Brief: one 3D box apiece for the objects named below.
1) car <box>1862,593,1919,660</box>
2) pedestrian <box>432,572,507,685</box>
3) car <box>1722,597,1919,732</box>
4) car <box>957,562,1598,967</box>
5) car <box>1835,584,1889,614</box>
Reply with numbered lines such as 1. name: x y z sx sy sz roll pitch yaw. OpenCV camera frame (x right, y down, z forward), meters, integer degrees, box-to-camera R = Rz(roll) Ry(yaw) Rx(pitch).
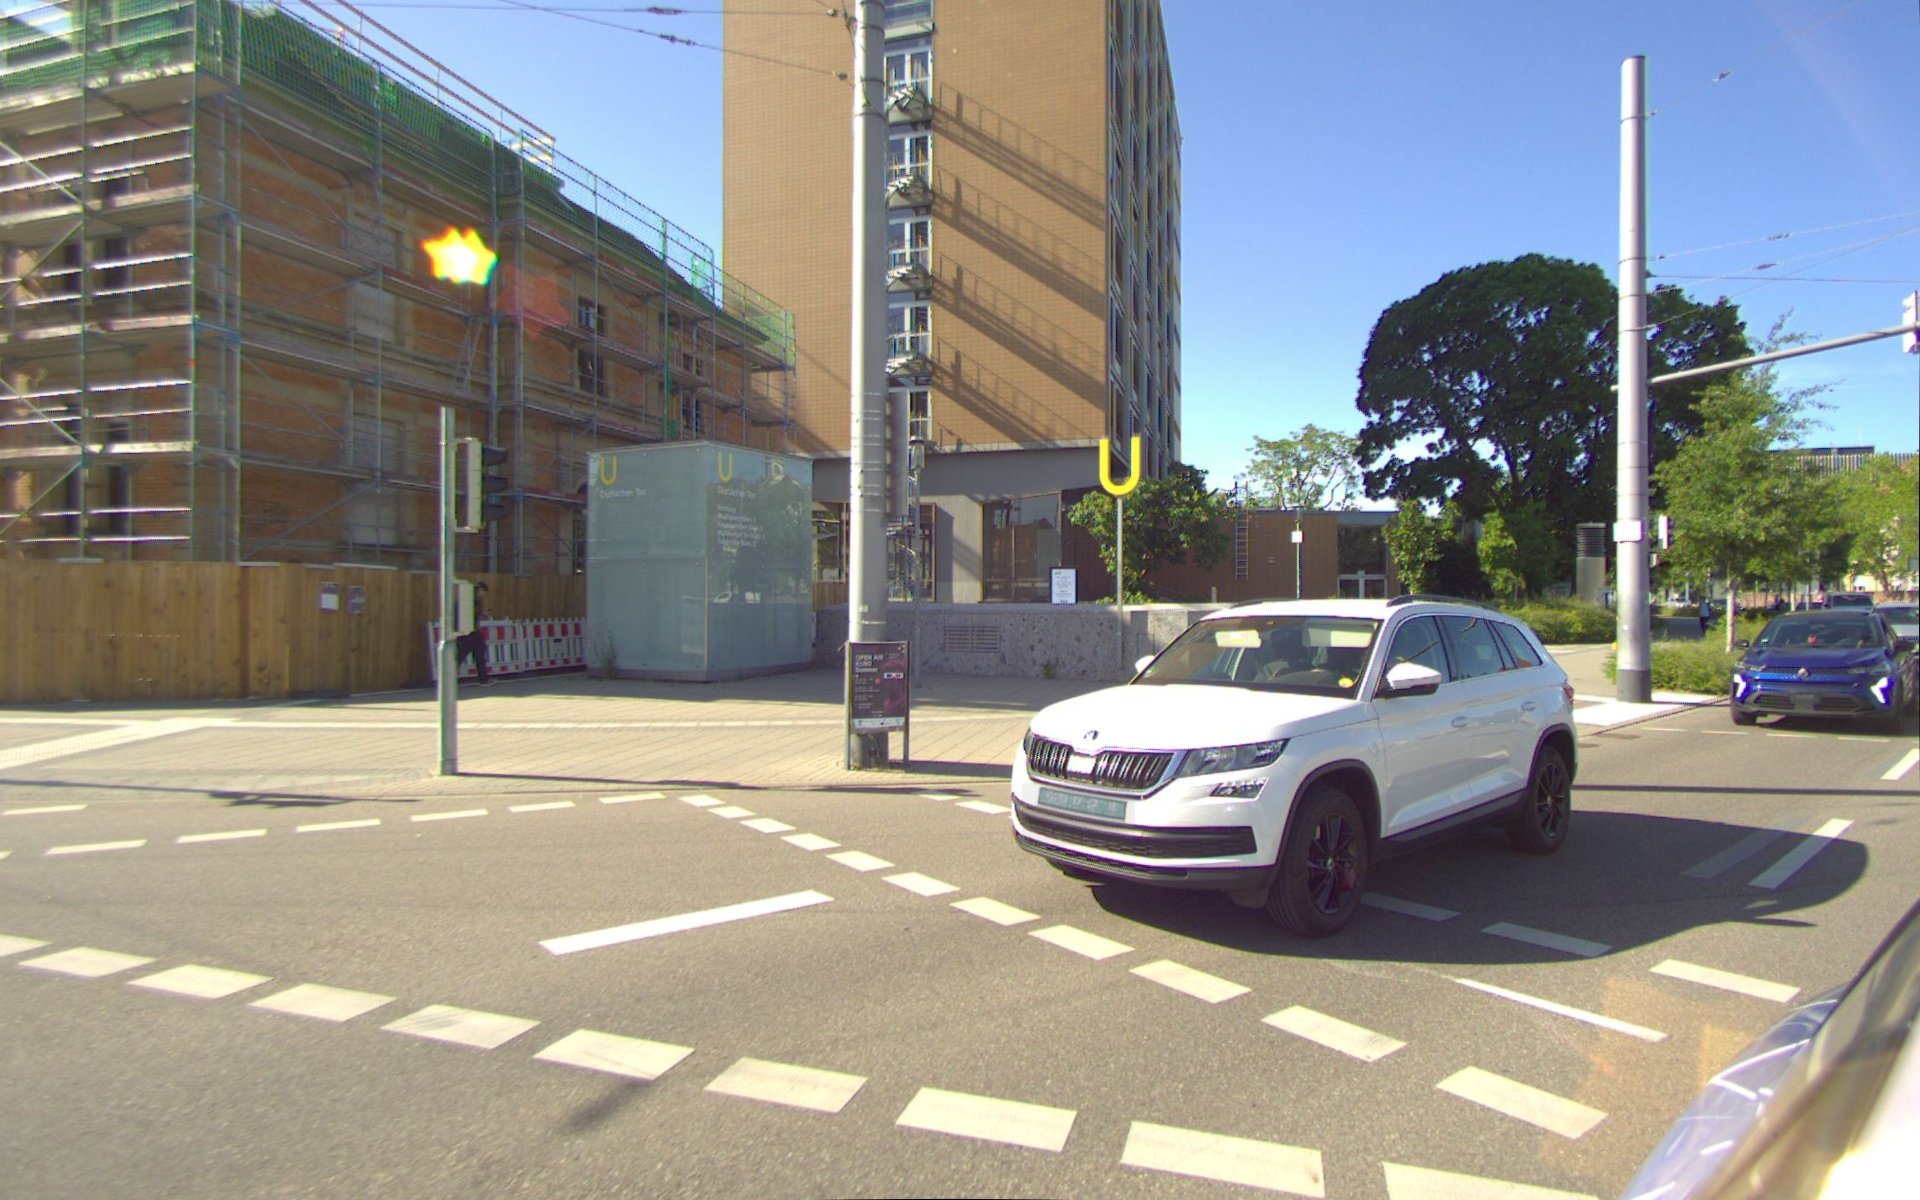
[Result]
1. car: 25.220 0.654 26.562 3.944 1.651 1.883 0 -1 -43
2. pedestrian: -8.163 0.470 16.851 0.768 1.810 0.825 -2 -2 22
3. car: 12.545 0.809 14.499 3.944 1.651 1.883 0 -1 -43
4. car: 2.204 0.750 6.327 4.320 1.666 1.866 2 -3 -42
5. car: 47.137 -0.049 52.957 1.913 1.477 4.601 -2 -1 40
